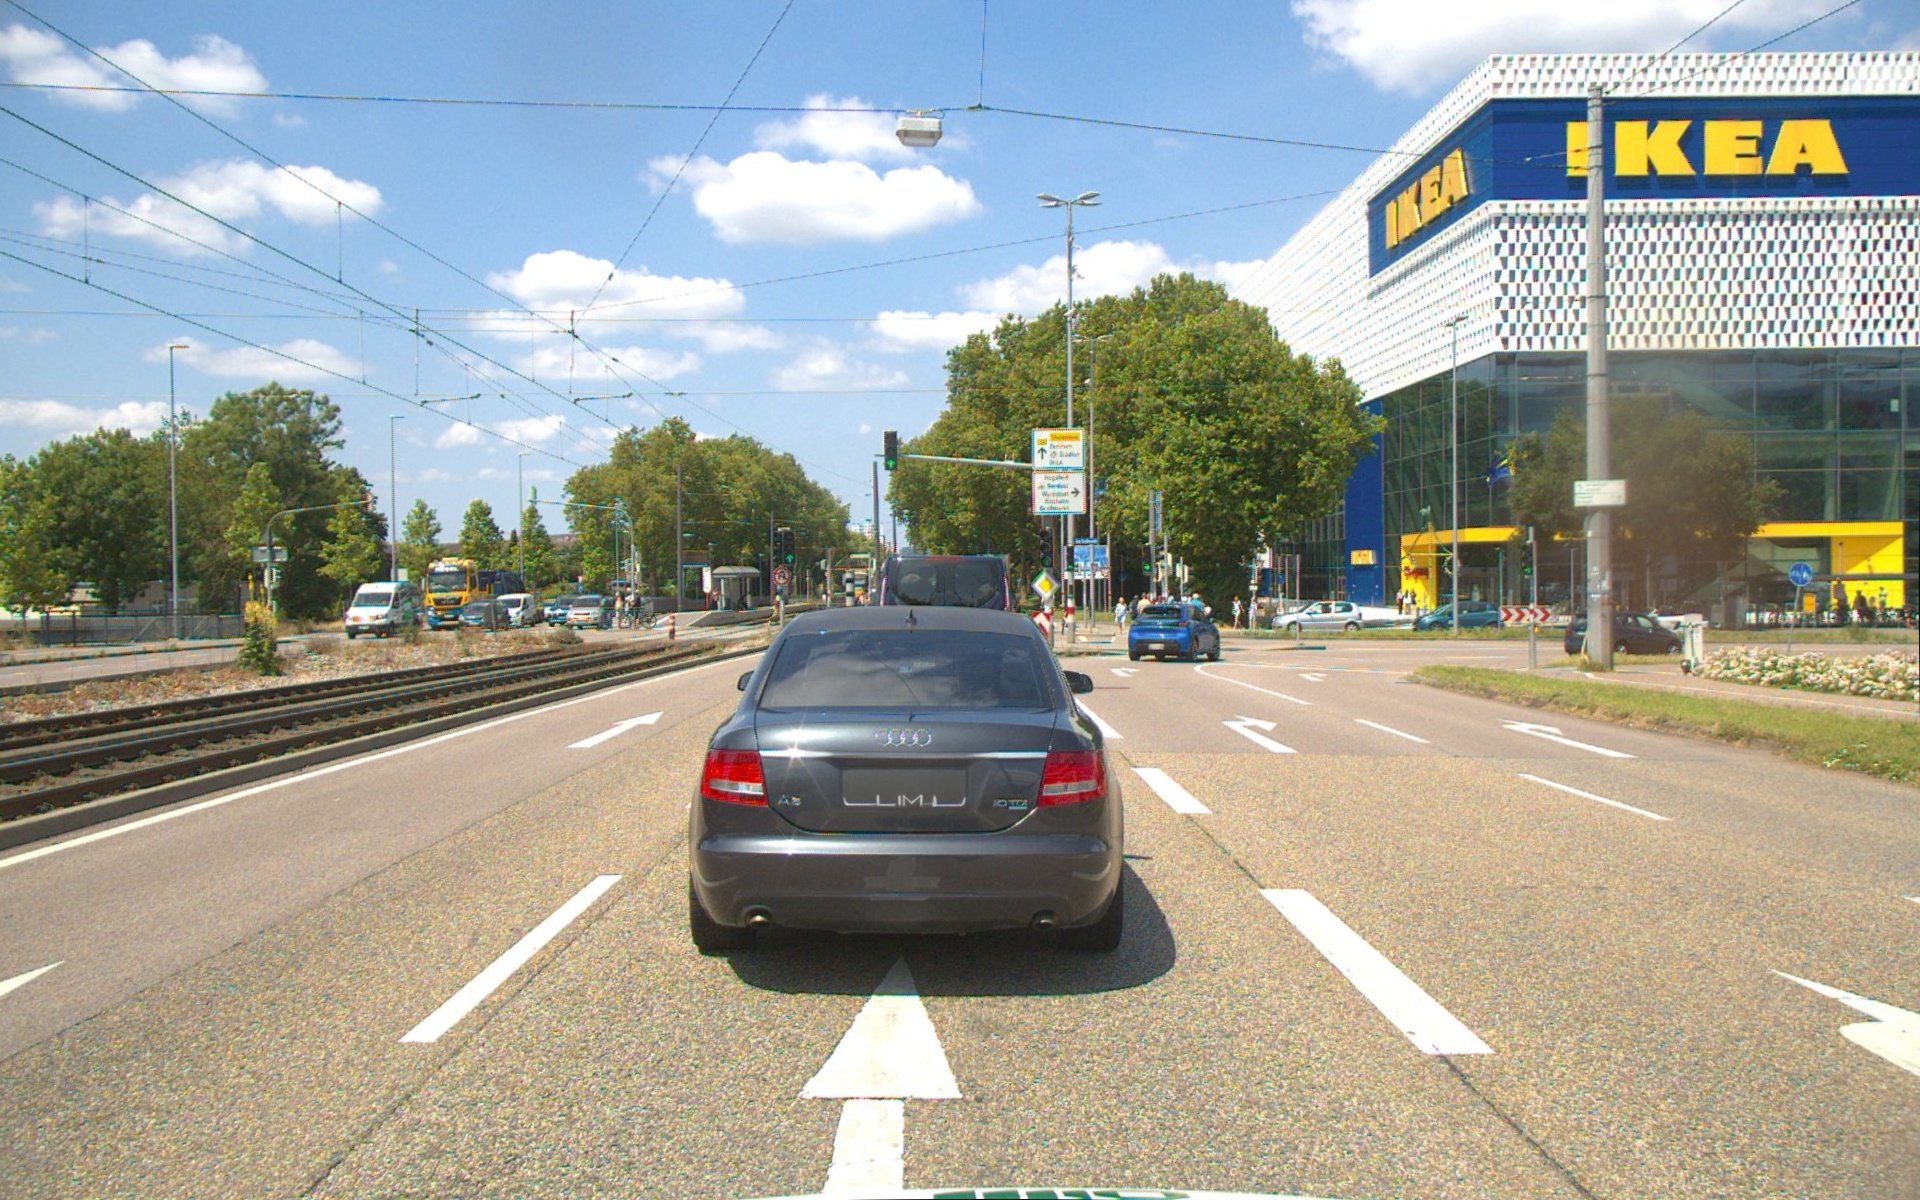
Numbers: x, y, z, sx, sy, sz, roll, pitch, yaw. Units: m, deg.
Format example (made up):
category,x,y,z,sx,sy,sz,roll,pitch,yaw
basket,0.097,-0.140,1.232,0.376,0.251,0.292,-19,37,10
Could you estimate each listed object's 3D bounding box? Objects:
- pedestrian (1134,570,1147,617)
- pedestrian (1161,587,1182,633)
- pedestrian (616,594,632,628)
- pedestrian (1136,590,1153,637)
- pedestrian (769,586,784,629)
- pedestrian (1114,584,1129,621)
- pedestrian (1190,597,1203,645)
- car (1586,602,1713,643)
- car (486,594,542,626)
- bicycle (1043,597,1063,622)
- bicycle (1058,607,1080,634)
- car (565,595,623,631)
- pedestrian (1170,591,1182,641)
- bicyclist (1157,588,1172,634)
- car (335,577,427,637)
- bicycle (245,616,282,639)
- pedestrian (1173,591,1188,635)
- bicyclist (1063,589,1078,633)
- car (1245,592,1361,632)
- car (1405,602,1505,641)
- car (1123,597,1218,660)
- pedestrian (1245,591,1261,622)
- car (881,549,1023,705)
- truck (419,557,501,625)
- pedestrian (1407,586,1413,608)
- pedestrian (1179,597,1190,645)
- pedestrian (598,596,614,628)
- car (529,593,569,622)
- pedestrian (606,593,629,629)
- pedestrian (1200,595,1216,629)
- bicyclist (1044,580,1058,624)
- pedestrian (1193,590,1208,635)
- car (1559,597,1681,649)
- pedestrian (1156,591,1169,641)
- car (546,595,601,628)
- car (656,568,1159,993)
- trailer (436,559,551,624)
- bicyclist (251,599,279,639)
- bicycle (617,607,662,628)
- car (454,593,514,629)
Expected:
category,x,y,z,sx,sy,sz,roll,pitch,yaw
pedestrian,6.434,-0.223,58.975,0.435,1.663,0.430,1,0,2
pedestrian,8.641,0.406,67.673,0.671,1.878,0.706,0,0,25
pedestrian,-15.776,0.525,77.740,0.671,1.592,0.572,0,0,-4
pedestrian,6.571,0.469,58.838,0.542,1.663,0.433,1,0,2
pedestrian,-8.725,0.340,78.757,0.672,2.049,0.572,0,0,-5
pedestrian,6.850,0.110,70.049,0.483,1.546,0.707,0,0,17
pedestrian,8.257,0.719,57.732,0.389,1.663,0.371,1,0,2
car,28.337,0.901,68.064,4.403,1.512,2.001,2,0,3
car,-24.489,0.536,90.946,1.785,1.699,4.461,1,0,1
bicycle,3.882,0.399,69.246,0.673,1.011,2.751,1,0,0
bicycle,4.300,0.784,65.393,0.673,1.023,2.751,1,0,0
car,-18.470,0.631,83.543,1.784,1.699,4.462,1,0,2
pedestrian,7.204,0.523,55.141,0.332,1.663,0.377,1,0,2
bicyclist,8.063,0.446,65.117,0.517,1.795,0.828,0,0,13
car,-27.534,0.261,78.882,2.198,2.634,6.233,-2,1,-2
bicycle,-31.802,1.258,75.494,1.461,1.004,0.485,1,0,-5
pedestrian,8.278,0.479,62.118,0.493,1.663,0.449,1,0,2
bicyclist,4.369,0.430,65.534,0.518,1.705,1.088,0,0,-1
car,14.079,0.476,68.030,4.403,1.512,2.001,2,0,3
car,21.262,0.923,71.178,3.710,1.512,2.001,2,0,3
car,5.492,0.699,42.774,1.798,1.480,4.002,2,0,16
pedestrian,15.119,0.321,85.401,0.690,1.571,0.678,0,0,18
car,-0.139,0.344,22.994,1.799,1.984,3.999,0,0,-1
truck,-27.903,-0.499,92.546,2.711,3.631,6.438,0,0,-1
pedestrian,28.526,-0.196,104.894,0.283,1.366,0.266,0,0,-1
pedestrian,7.844,0.720,57.740,0.314,1.663,0.377,1,0,2
pedestrian,-16.400,0.574,76.619,0.671,1.468,0.572,0,0,-4
car,-27.890,0.470,112.331,1.781,1.916,3.999,0,0,-1
pedestrian,-16.453,0.525,79.503,0.806,1.750,0.775,0,0,21
pedestrian,12.297,0.584,82.111,0.690,1.663,0.612,0,0,18
bicyclist,3.818,0.088,69.423,0.518,1.820,1.088,0,0,0
pedestrian,9.041,0.463,62.121,0.510,1.699,0.494,1,0,2
car,20.696,0.688,51.821,4.055,1.553,1.743,0,0,-37
pedestrian,6.750,0.538,55.173,0.373,1.663,0.377,1,0,2
car,-21.403,0.611,91.740,1.784,1.699,4.462,1,0,2
car,-0.201,0.612,7.798,1.756,1.480,4.000,0,0,-1
trailer,-28.029,-0.501,100.351,2.711,3.580,15.875,0,0,-1
bicyclist,-31.708,0.849,75.492,1.097,1.805,0.340,1,0,-6
bicycle,-14.650,0.813,75.688,2.019,0.941,0.751,0,0,-11
car,-24.101,0.545,83.852,1.785,1.699,4.461,1,0,-1
